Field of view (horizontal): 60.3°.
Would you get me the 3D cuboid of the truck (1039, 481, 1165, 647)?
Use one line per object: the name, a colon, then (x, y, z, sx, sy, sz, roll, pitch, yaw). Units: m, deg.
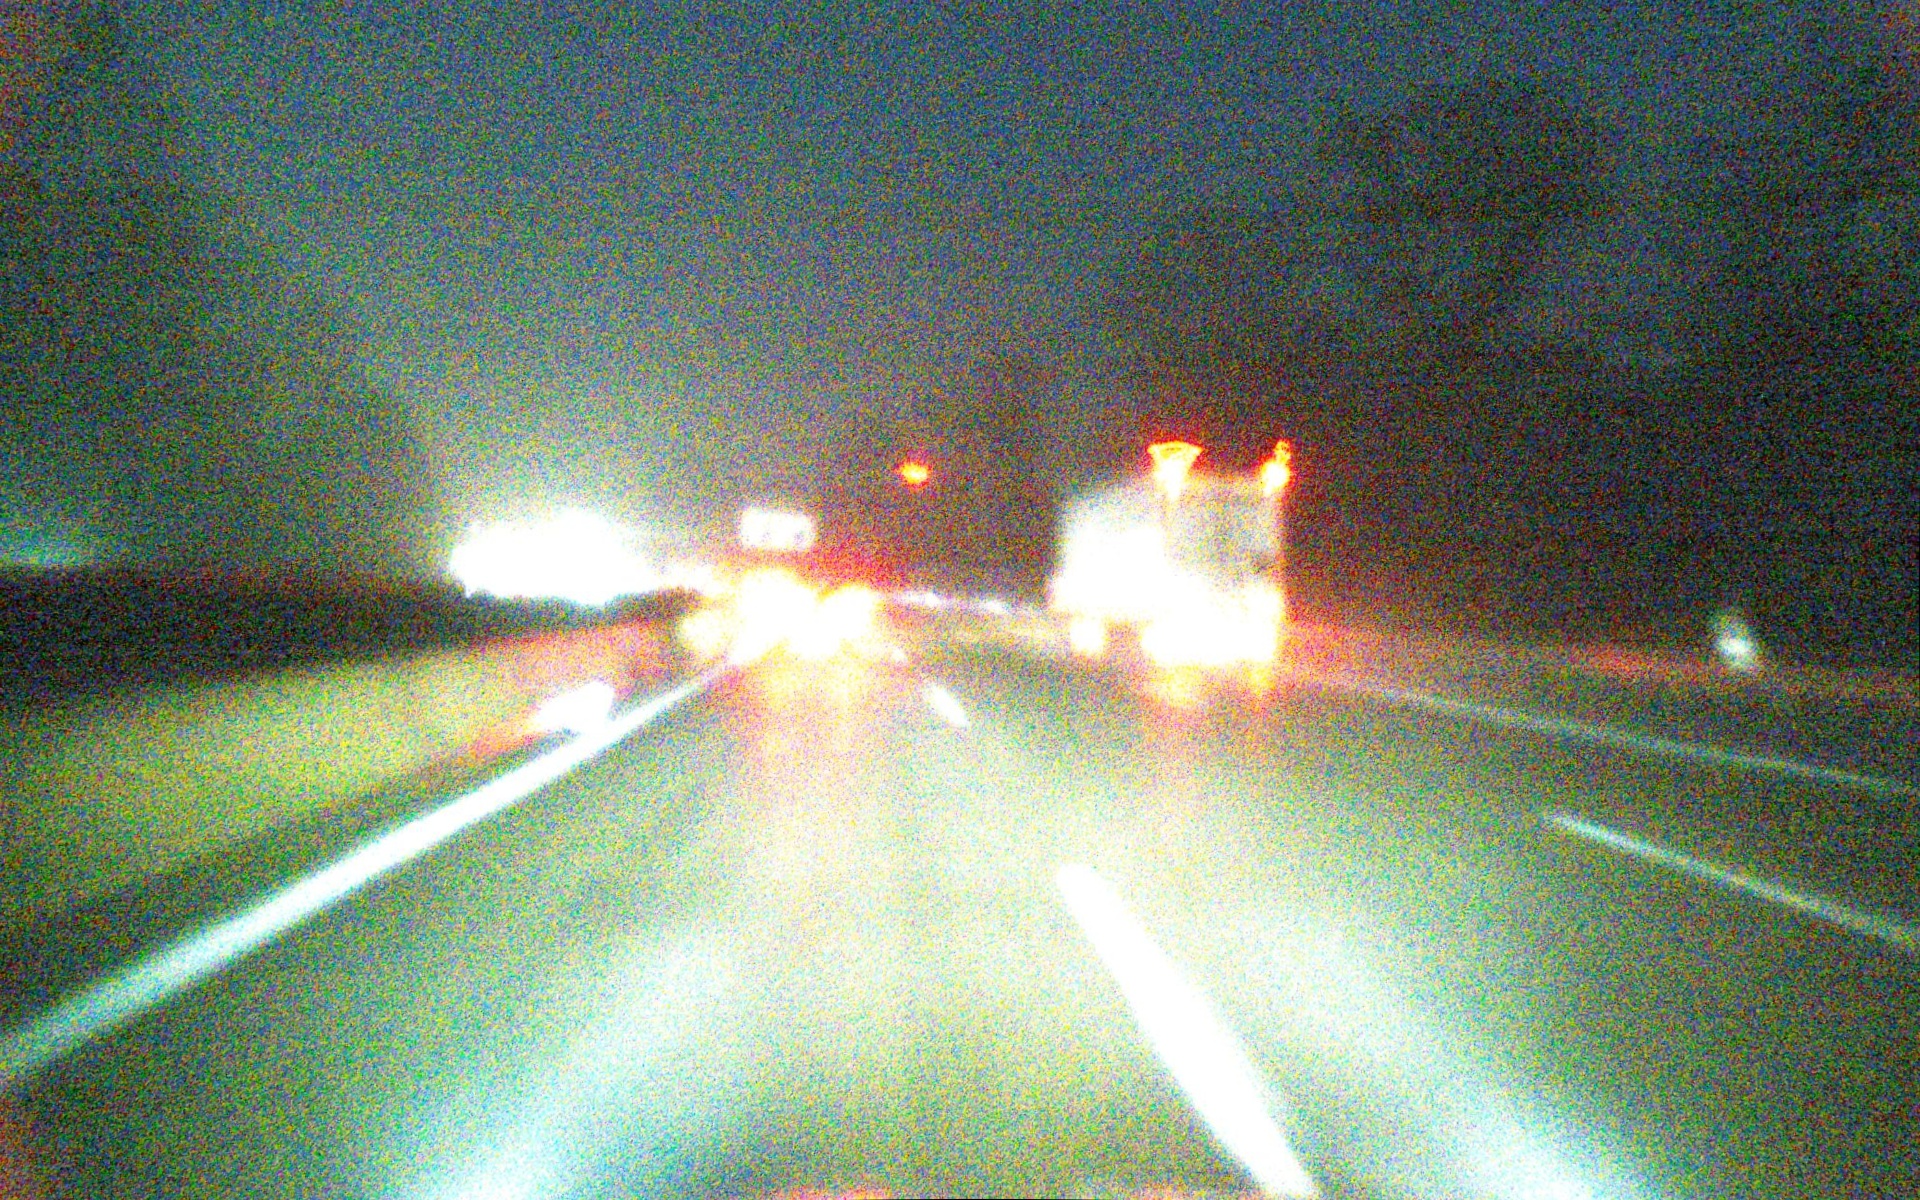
truck: (3.887, -0.956, 46.289, 2.657, 4.315, 5.289, 1, 0, -4)

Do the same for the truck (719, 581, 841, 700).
truck: (-3.820, 0.771, 36.174, 2.103, 2.113, 6.600, 5, 1, -3)

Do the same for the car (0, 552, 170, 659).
car: (-15.200, 0.032, 27.750, 1.954, 1.504, 3.999, 5, 1, -2)

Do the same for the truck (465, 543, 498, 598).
truck: (-48.804, -3.040, 168.909, 2.707, 5.185, 5.860, 5, 1, -15)

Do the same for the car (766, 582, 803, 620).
car: (-9.578, 0.060, 90.495, 1.955, 2.049, 3.995, 1, 0, -6)

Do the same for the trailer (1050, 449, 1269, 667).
trailer: (4.360, -0.899, 39.690, 2.685, 4.322, 13.360, -1, 0, -4)
